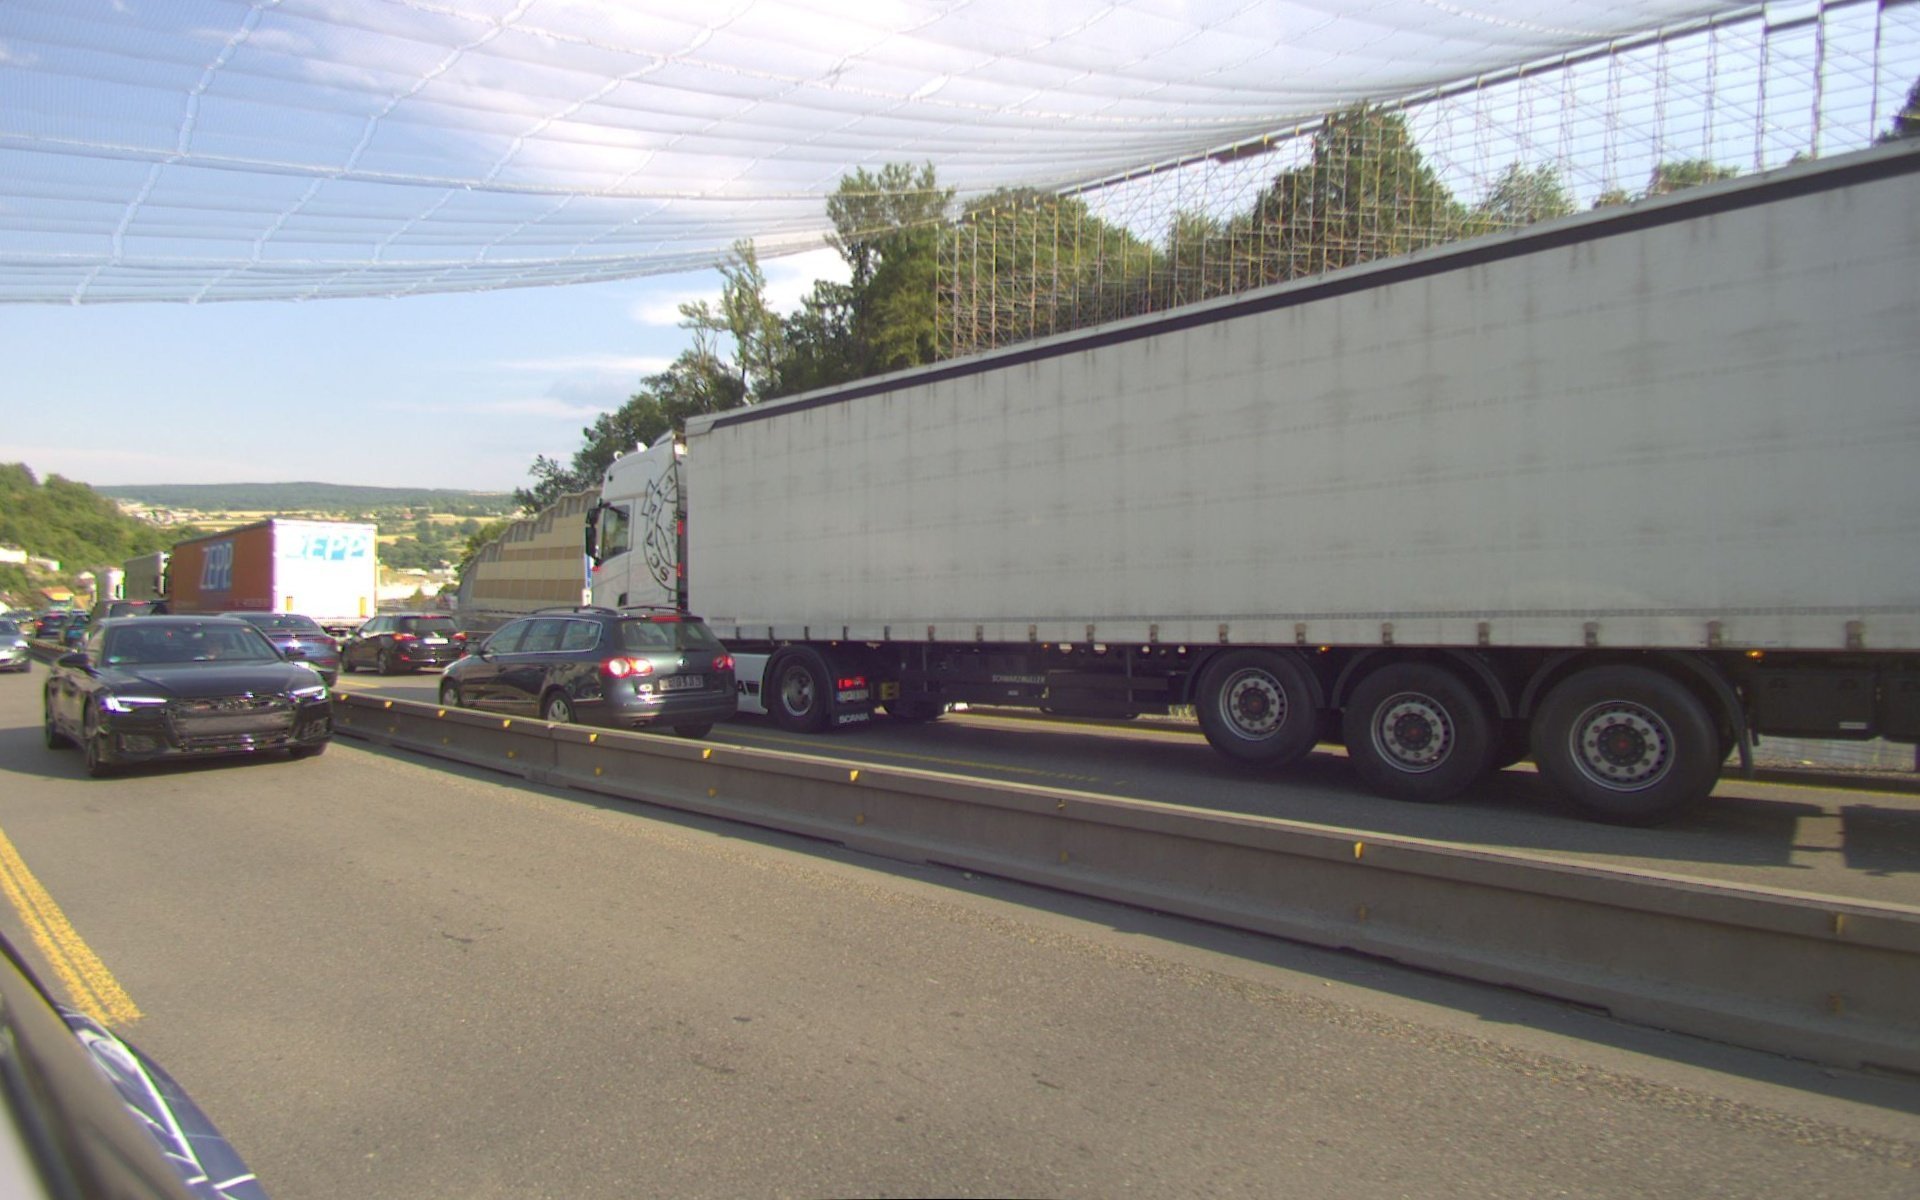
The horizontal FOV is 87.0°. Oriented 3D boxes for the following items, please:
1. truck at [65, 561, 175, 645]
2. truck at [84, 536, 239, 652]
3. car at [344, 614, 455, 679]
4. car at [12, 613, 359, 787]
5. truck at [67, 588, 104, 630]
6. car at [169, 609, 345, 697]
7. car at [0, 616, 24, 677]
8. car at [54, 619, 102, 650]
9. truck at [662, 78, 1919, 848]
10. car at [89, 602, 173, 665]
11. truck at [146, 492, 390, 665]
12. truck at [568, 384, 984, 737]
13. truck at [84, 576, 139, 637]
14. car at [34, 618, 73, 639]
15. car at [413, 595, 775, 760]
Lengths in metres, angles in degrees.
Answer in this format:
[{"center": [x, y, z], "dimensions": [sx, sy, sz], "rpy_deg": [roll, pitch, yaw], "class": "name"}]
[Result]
[{"center": [-52.027, 0.269, 62.396], "dimensions": [17.406, 4.593, 2.955], "rpy_deg": [-1, 0, 43], "class": "truck"}, {"center": [-37.390, -0.156, 46.916], "dimensions": [17.406, 4.593, 2.955], "rpy_deg": [-1, 0, 43], "class": "truck"}, {"center": [-13.441, 1.059, 24.210], "dimensions": [3.293, 1.426, 1.353], "rpy_deg": [-1, 0, 43], "class": "car"}, {"center": [-8.382, 0.889, 10.760], "dimensions": [4.957, 1.409, 1.915], "rpy_deg": [-1, 0, 40], "class": "car"}, {"center": [-107.166, 1.053, 123.887], "dimensions": [3.122, 4.881, 14.375], "rpy_deg": [-1, 0, -42], "class": "truck"}, {"center": [-14.317, 0.981, 20.483], "dimensions": [4.978, 1.530, 1.913], "rpy_deg": [-1, 0, 43], "class": "car"}, {"center": [-25.231, 1.164, 25.836], "dimensions": [4.354, 1.484, 1.736], "rpy_deg": [-1, 0, 44], "class": "car"}, {"center": [-34.313, 1.331, 39.371], "dimensions": [2.727, 1.122, 1.150], "rpy_deg": [-1, 0, 43], "class": "car"}, {"center": [2.261, -0.708, 9.991], "dimensions": [14.158, 4.259, 2.694], "rpy_deg": [-1, 0, 41], "class": "truck"}, {"center": [-25.754, 0.991, 31.400], "dimensions": [1.702, 1.841, 3.295], "rpy_deg": [-1, 0, -45], "class": "car"}, {"center": [-23.796, -0.485, 33.935], "dimensions": [17.406, 4.593, 2.955], "rpy_deg": [-1, 0, 43], "class": "truck"}, {"center": [-2.796, -0.419, 14.224], "dimensions": [6.045, 3.937, 2.490], "rpy_deg": [-1, 0, 41], "class": "truck"}, {"center": [-73.139, 0.551, 87.122], "dimensions": [3.122, 4.881, 14.375], "rpy_deg": [-1, 0, -42], "class": "truck"}, {"center": [-55.542, 1.736, 61.983], "dimensions": [3.291, 1.243, 1.385], "rpy_deg": [-1, 0, 41], "class": "car"}, {"center": [-4.392, 0.748, 11.761], "dimensions": [4.642, 1.546, 1.915], "rpy_deg": [-1, 0, 40], "class": "car"}]
